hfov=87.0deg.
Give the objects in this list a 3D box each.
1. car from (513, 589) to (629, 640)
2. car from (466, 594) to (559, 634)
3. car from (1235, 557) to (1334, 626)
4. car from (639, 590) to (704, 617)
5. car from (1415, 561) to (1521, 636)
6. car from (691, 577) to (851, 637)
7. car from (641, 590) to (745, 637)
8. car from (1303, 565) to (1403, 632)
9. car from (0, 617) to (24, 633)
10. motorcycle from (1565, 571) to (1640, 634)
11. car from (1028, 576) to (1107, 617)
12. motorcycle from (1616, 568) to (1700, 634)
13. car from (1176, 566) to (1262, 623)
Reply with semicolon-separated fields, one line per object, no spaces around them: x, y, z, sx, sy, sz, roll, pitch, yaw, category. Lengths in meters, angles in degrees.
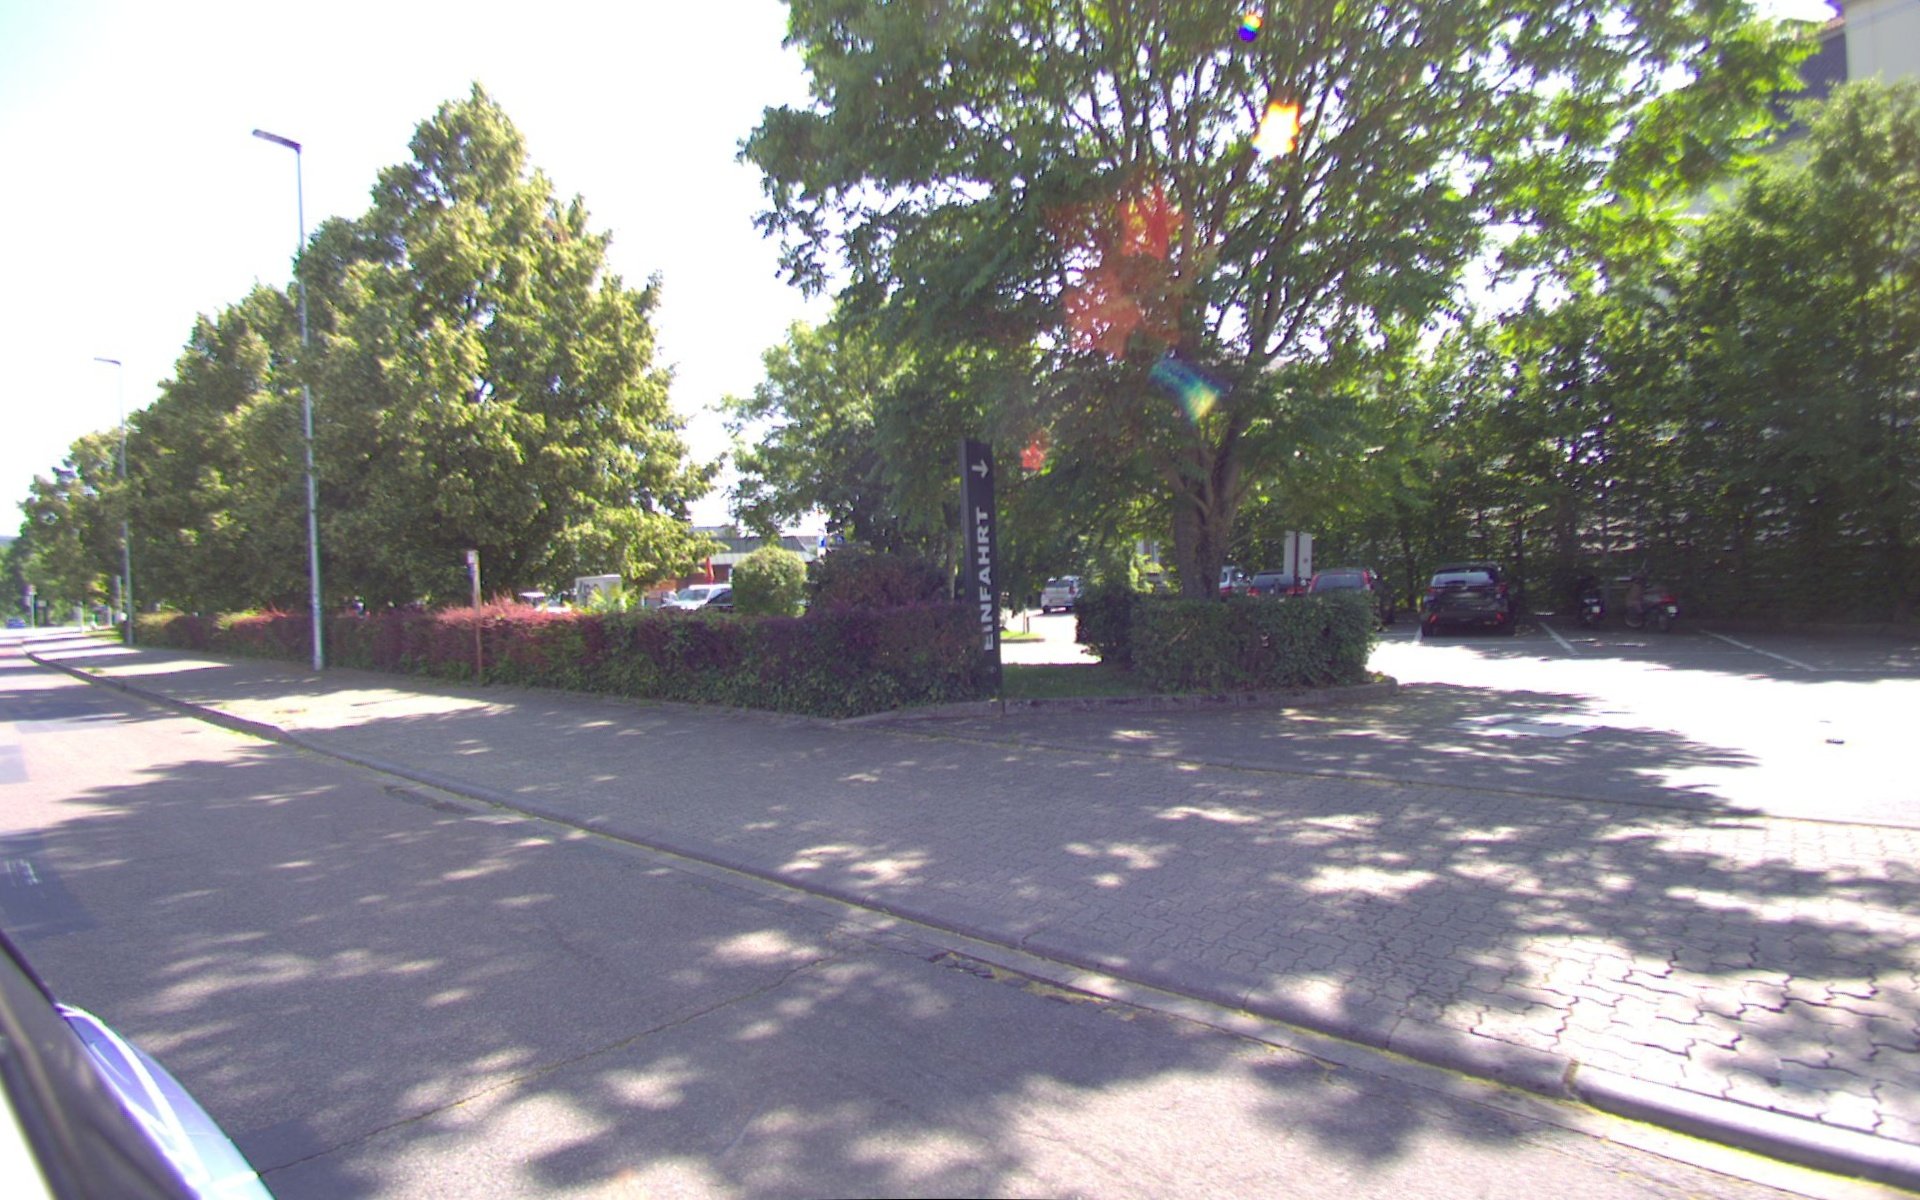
-15.557;0.542;40.722;1.739;1.841;4.318;-3;0;25;car
-22.317;0.688;50.452;4.199;1.812;1.747;-2;1;22;car
9.158;-0.289;28.376;1.795;1.745;3.983;-2;1;30;car
-18.849;0.223;66.216;3.934;1.606;1.932;-2;1;-12;car
10.988;-0.079;21.745;1.763;1.398;4.054;-2;2;30;car
-5.573;0.195;29.419;5.032;1.572;2.045;-1;1;45;car
-10.411;0.502;39.704;1.896;1.595;3.777;-2;1;27;car
9.517;-0.074;24.337;1.621;1.405;4.030;-2;1;30;car
-99.951;2.604;106.708;3.684;1.547;1.588;-1;1;44;car
12.538;0.019;19.820;0.564;1.124;2.173;-2;1;15;motorcycle
4.490;-0.171;41.601;1.787;1.461;4.008;-2;1;29;car
13.099;-0.016;19.066;0.564;1.140;2.173;-2;1;15;motorcycle
8.056;-0.205;31.315;1.636;1.599;3.812;-2;1;29;car
